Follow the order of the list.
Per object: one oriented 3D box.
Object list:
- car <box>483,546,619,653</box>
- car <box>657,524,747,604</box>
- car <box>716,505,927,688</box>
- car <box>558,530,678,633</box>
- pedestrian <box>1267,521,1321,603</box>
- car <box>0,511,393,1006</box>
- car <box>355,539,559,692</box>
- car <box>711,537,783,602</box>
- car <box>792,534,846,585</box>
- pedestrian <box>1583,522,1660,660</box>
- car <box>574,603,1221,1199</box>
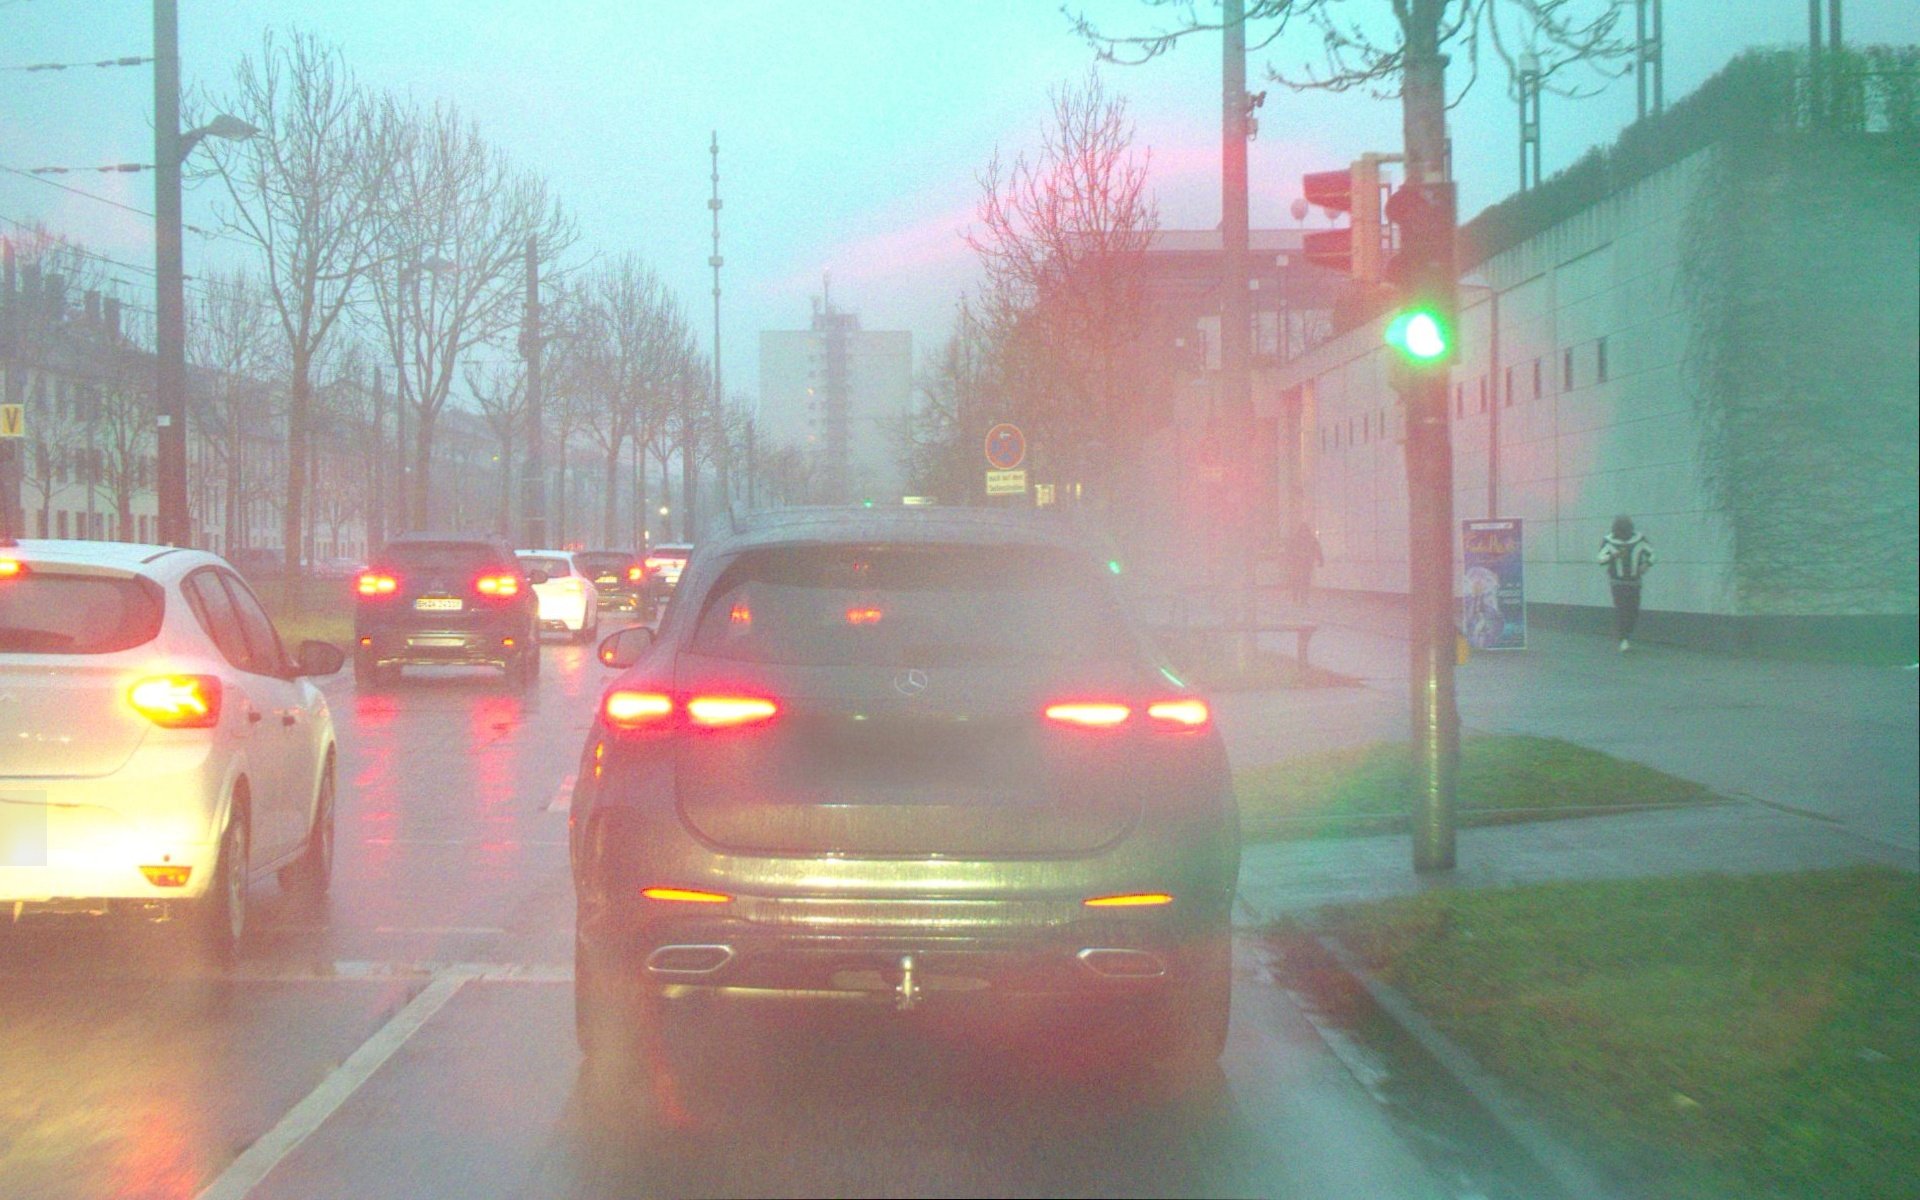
[{"bbox_3d":[-6.393,-0.035,54.050,1.672,1.594,4.054,1,1,0],"label":"car"},{"bbox_3d":[-6.791,-0.941,90.971,1.993,2.007,4.000,1,0,1],"label":"car"},{"bbox_3d":[-1.349,-0.063,35.053,1.993,1.738,4.000,-1,1,0],"label":"car"},{"bbox_3d":[-7.001,-0.376,70.712,1.993,2.007,4.000,1,0,1],"label":"car"},{"bbox_3d":[6.608,-0.753,68.012,0.937,1.612,0.695,-1,1,-4],"label":"pedestrian"},{"bbox_3d":[-3.331,0.482,13.134,1.672,1.594,4.054,1,1,0],"label":"car"},{"bbox_3d":[-5.525,0.134,38.171,1.672,1.594,4.054,1,1,0],"label":"car"},{"bbox_3d":[-6.834,-0.973,110.624,1.993,2.007,4.000,1,0,1],"label":"car"},{"bbox_3d":[-5.731,-1.662,140.253,1.993,2.007,4.000,-1,1,1],"label":"car"},{"bbox_3d":[7.816,-0.113,40.649,0.621,1.605,1.067,-1,1,-4],"label":"pedestrian"},{"bbox_3d":[-0.176,0.839,10.981,1.672,1.594,4.054,1,1,0],"label":"car"}]
